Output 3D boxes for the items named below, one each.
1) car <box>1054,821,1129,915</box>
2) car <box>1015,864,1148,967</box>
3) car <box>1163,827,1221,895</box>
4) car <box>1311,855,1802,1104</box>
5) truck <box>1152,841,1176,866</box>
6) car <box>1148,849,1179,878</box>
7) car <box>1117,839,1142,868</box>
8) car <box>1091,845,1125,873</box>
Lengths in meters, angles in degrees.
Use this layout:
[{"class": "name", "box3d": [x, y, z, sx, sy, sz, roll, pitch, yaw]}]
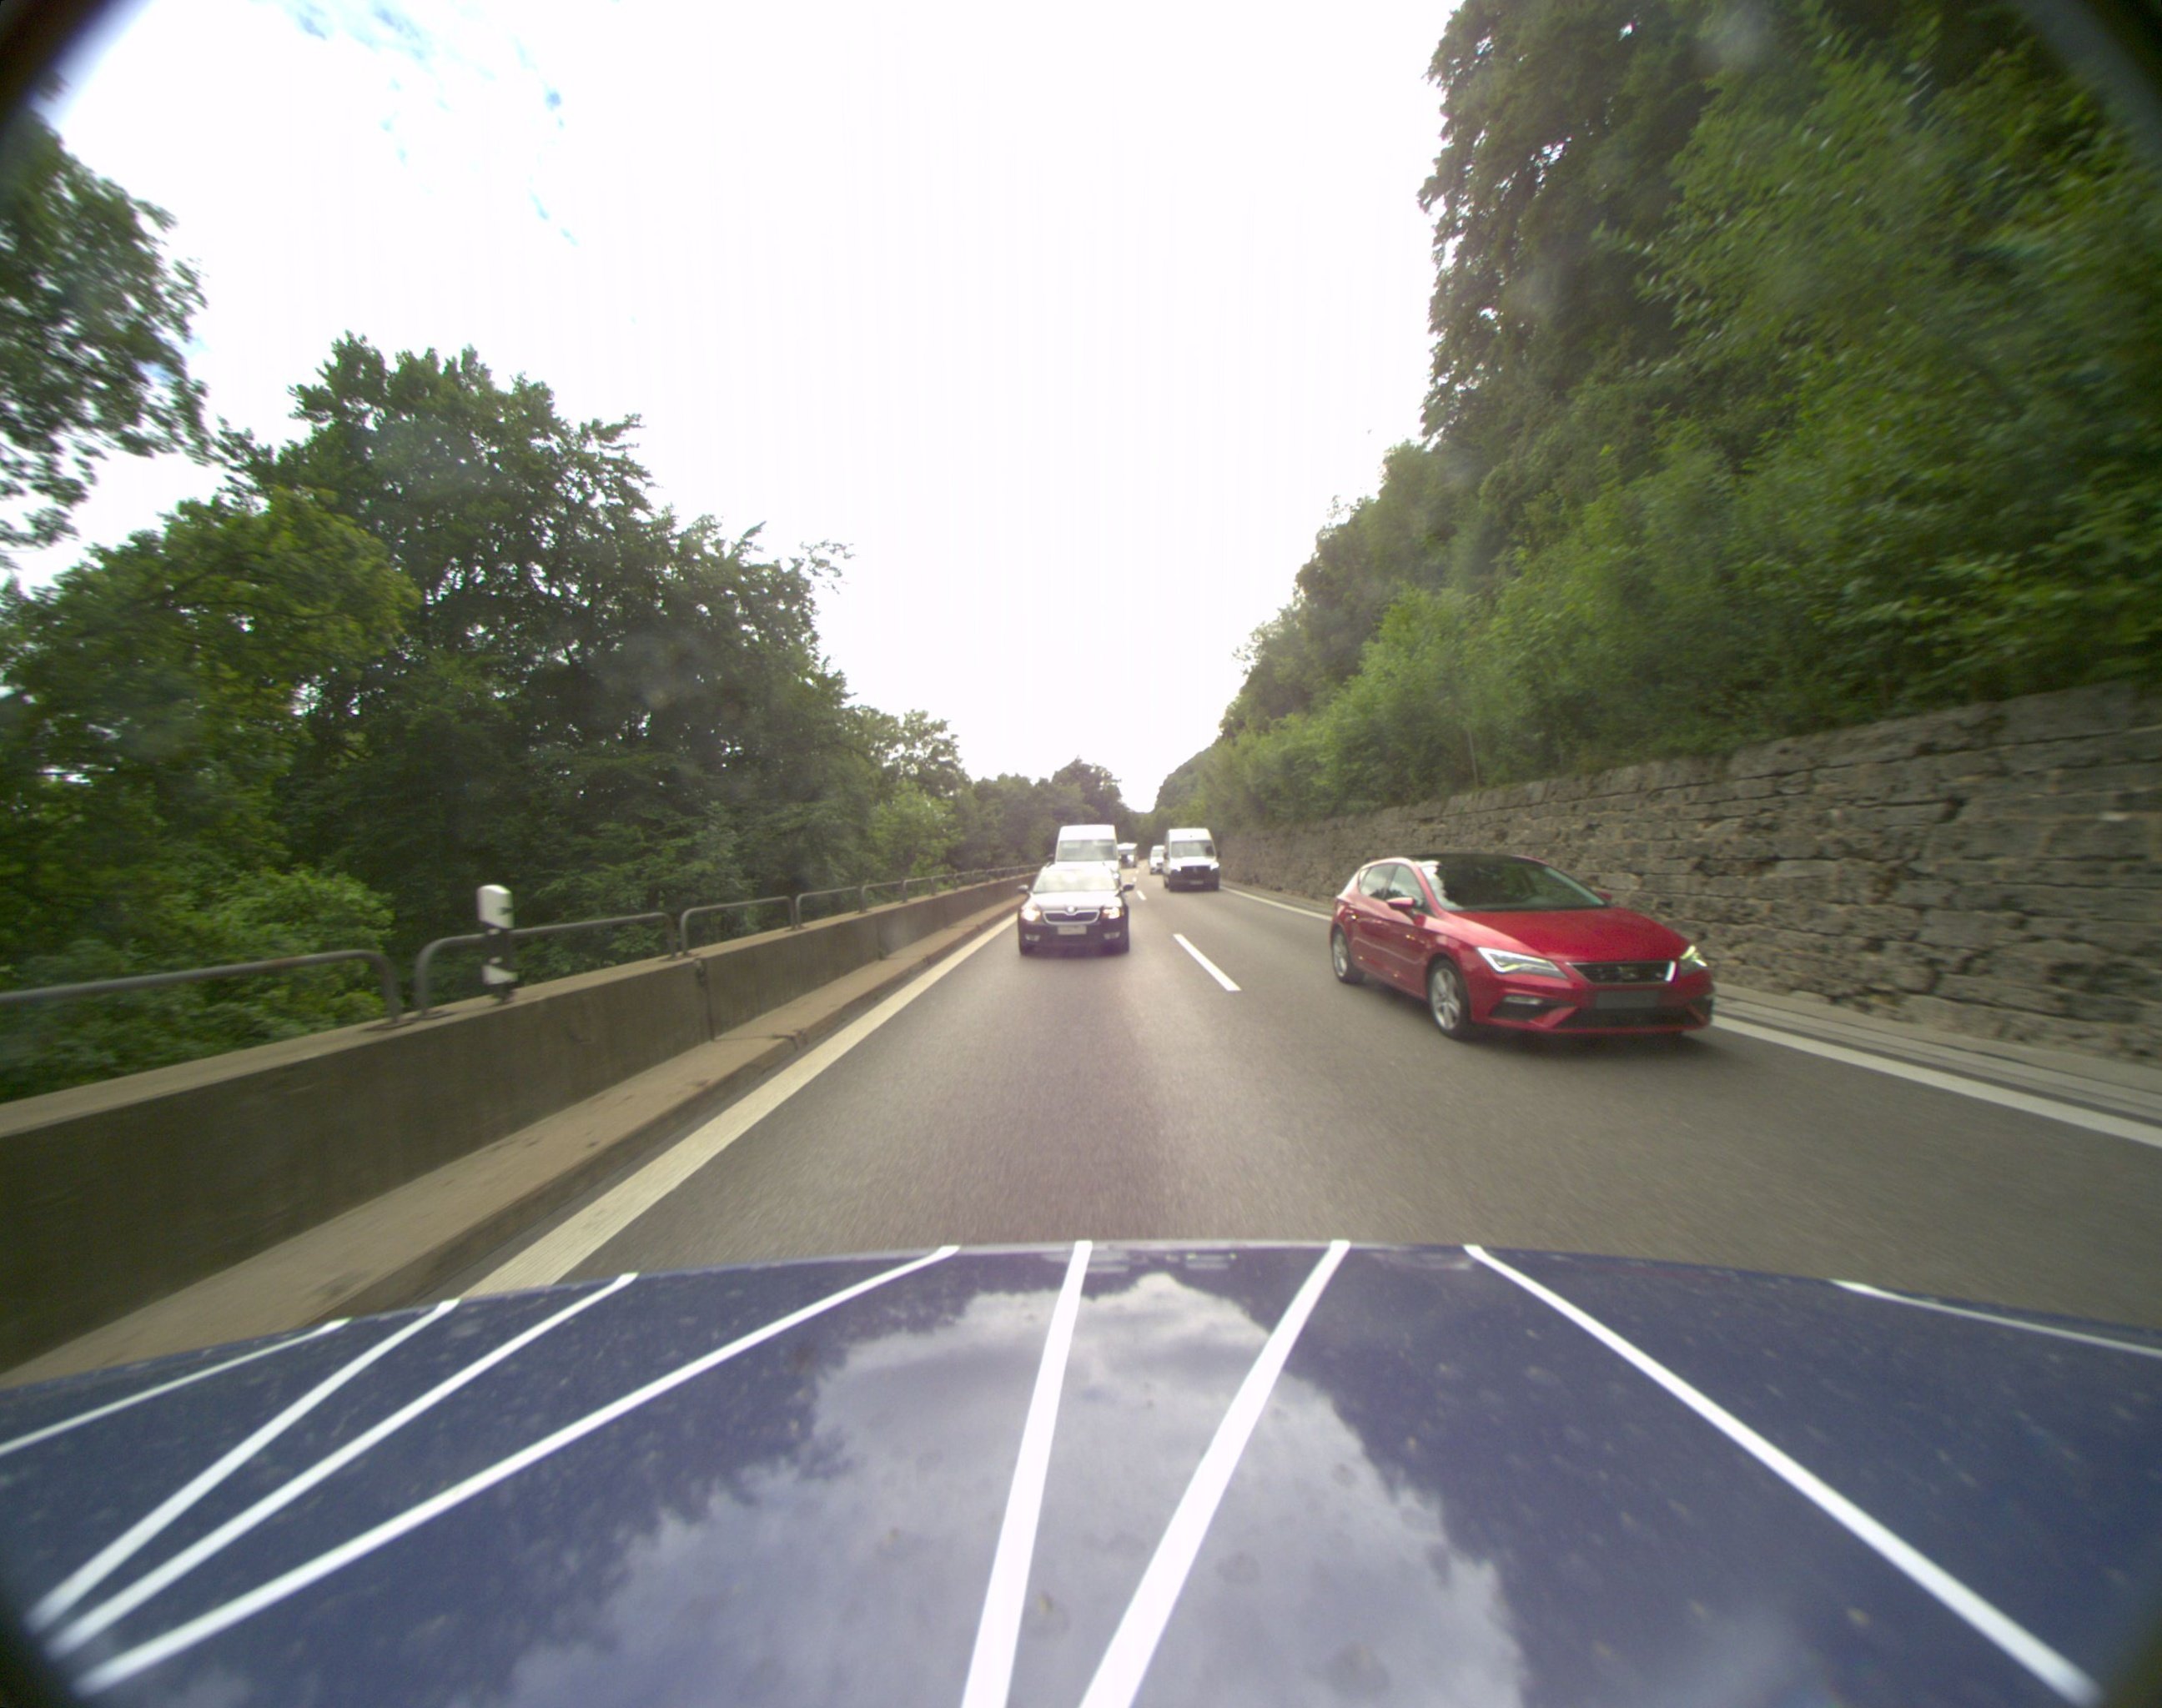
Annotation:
[{"class": "car", "box3d": [0.305, 0.368, 24.176, 1.998, 2.550, 5.917, -2, 1, 0]}, {"class": "car", "box3d": [-0.207, 0.939, 14.055, 1.914, 1.391, 5.694, -2, 0, -5]}, {"class": "car", "box3d": [4.624, 0.236, 32.439, 2.030, 2.570, 6.276, -2, 1, 5]}, {"class": "car", "box3d": [3.640, 0.796, 6.955, 1.771, 1.451, 4.411, -2, 0, 1]}, {"class": "truck", "box3d": [8.547, -0.072, 77.674, 1.997, 2.266, 6.590, -4, 0, 9]}, {"class": "car", "box3d": [6.304, 0.658, 57.431, 1.997, 1.941, 6.151, -4, 0, 8]}, {"class": "car", "box3d": [5.416, -0.122, 84.109, 2.275, 2.941, 7.189, -2, 1, 7]}, {"class": "car", "box3d": [2.037, 0.358, 56.427, 1.997, 1.871, 4.001, -3, 1, 8]}]
